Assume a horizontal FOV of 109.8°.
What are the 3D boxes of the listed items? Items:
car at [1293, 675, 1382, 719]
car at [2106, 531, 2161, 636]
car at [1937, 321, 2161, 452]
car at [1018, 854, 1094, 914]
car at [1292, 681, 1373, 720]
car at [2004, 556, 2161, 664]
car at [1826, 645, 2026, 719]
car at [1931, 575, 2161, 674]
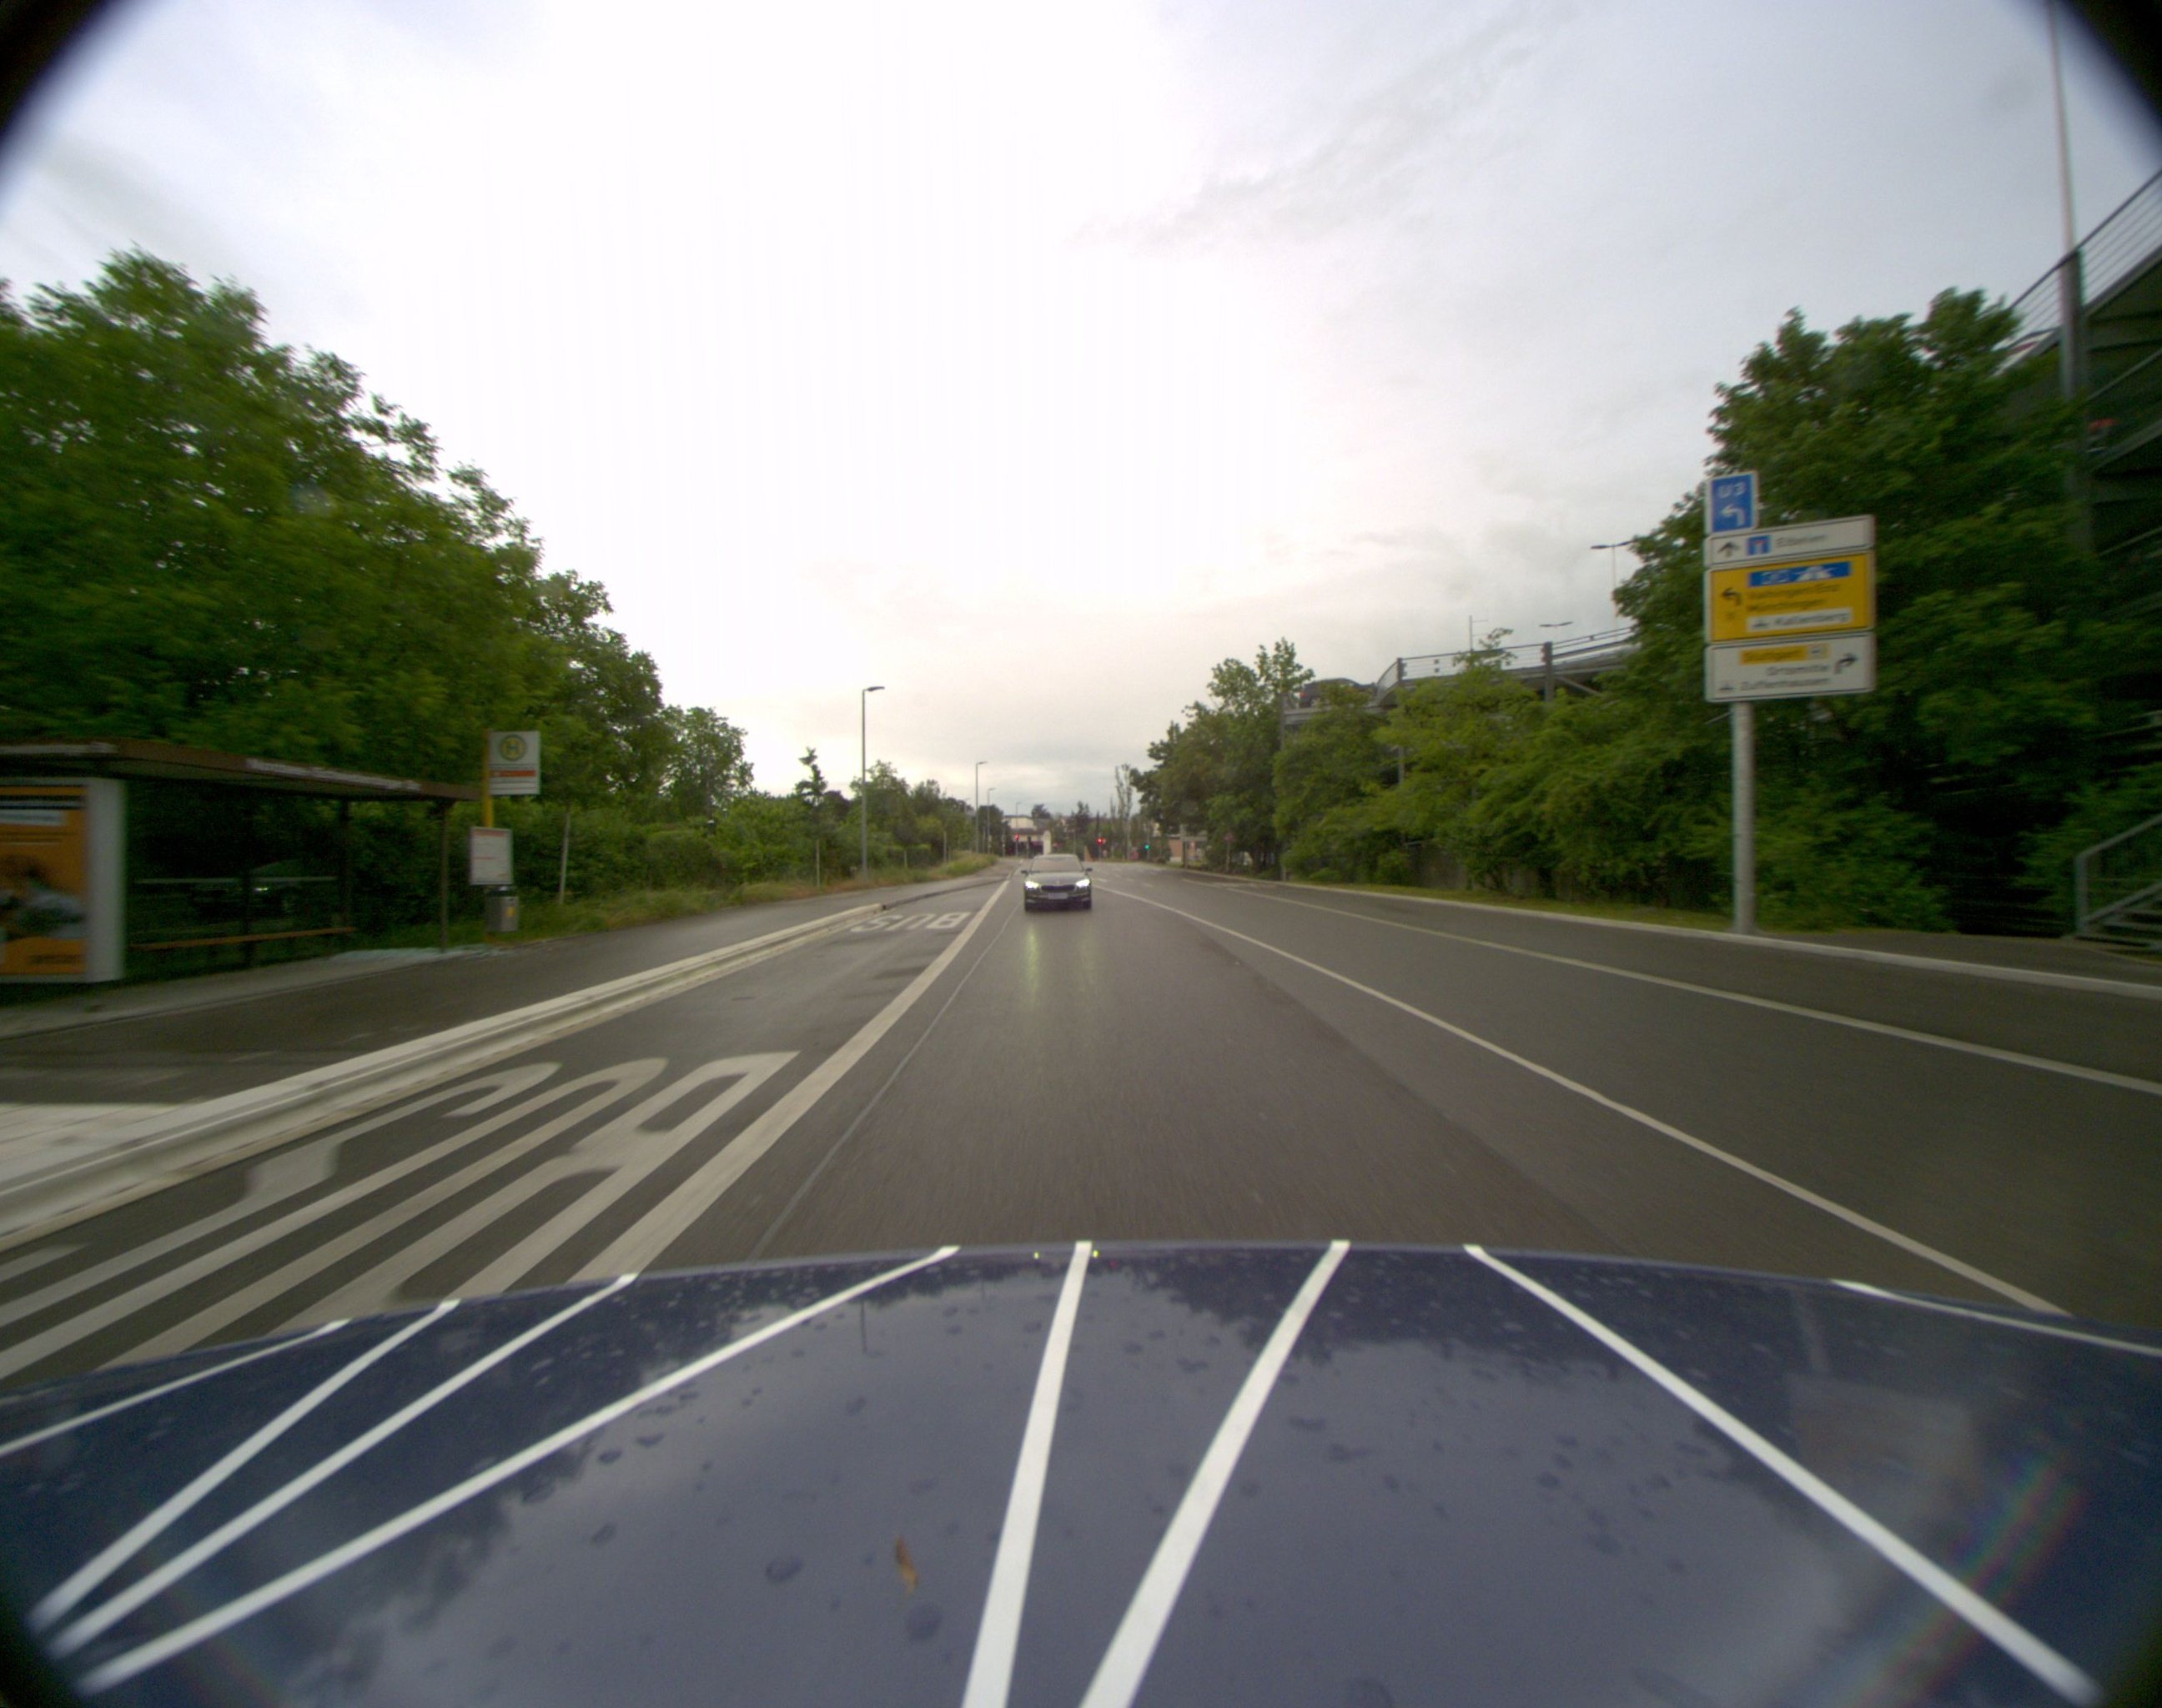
[{"bbox_3d":[12.737,-7.737,37.717,3.989,1.510,2.004,1,1,25],"label":"car"},{"bbox_3d":[19.695,-4.635,12.364,3.237,1.510,1.588,1,1,18],"label":"car"},{"bbox_3d":[21.510,-10.213,16.668,3.237,1.510,1.588,1,1,18],"label":"car"},{"bbox_3d":[-0.599,0.764,21.259,1.839,1.448,4.202,-2,0,1],"label":"car"},{"bbox_3d":[13.759,-8.334,41.572,3.989,1.510,2.004,1,1,25],"label":"car"},{"bbox_3d":[20.331,-4.641,14.401,3.237,1.510,1.588,1,1,18],"label":"car"},{"bbox_3d":[22.873,-4.621,20.715,3.237,1.510,1.588,1,1,18],"label":"car"},{"bbox_3d":[21.283,-4.952,16.588,3.237,1.510,1.588,1,1,18],"label":"car"}]
